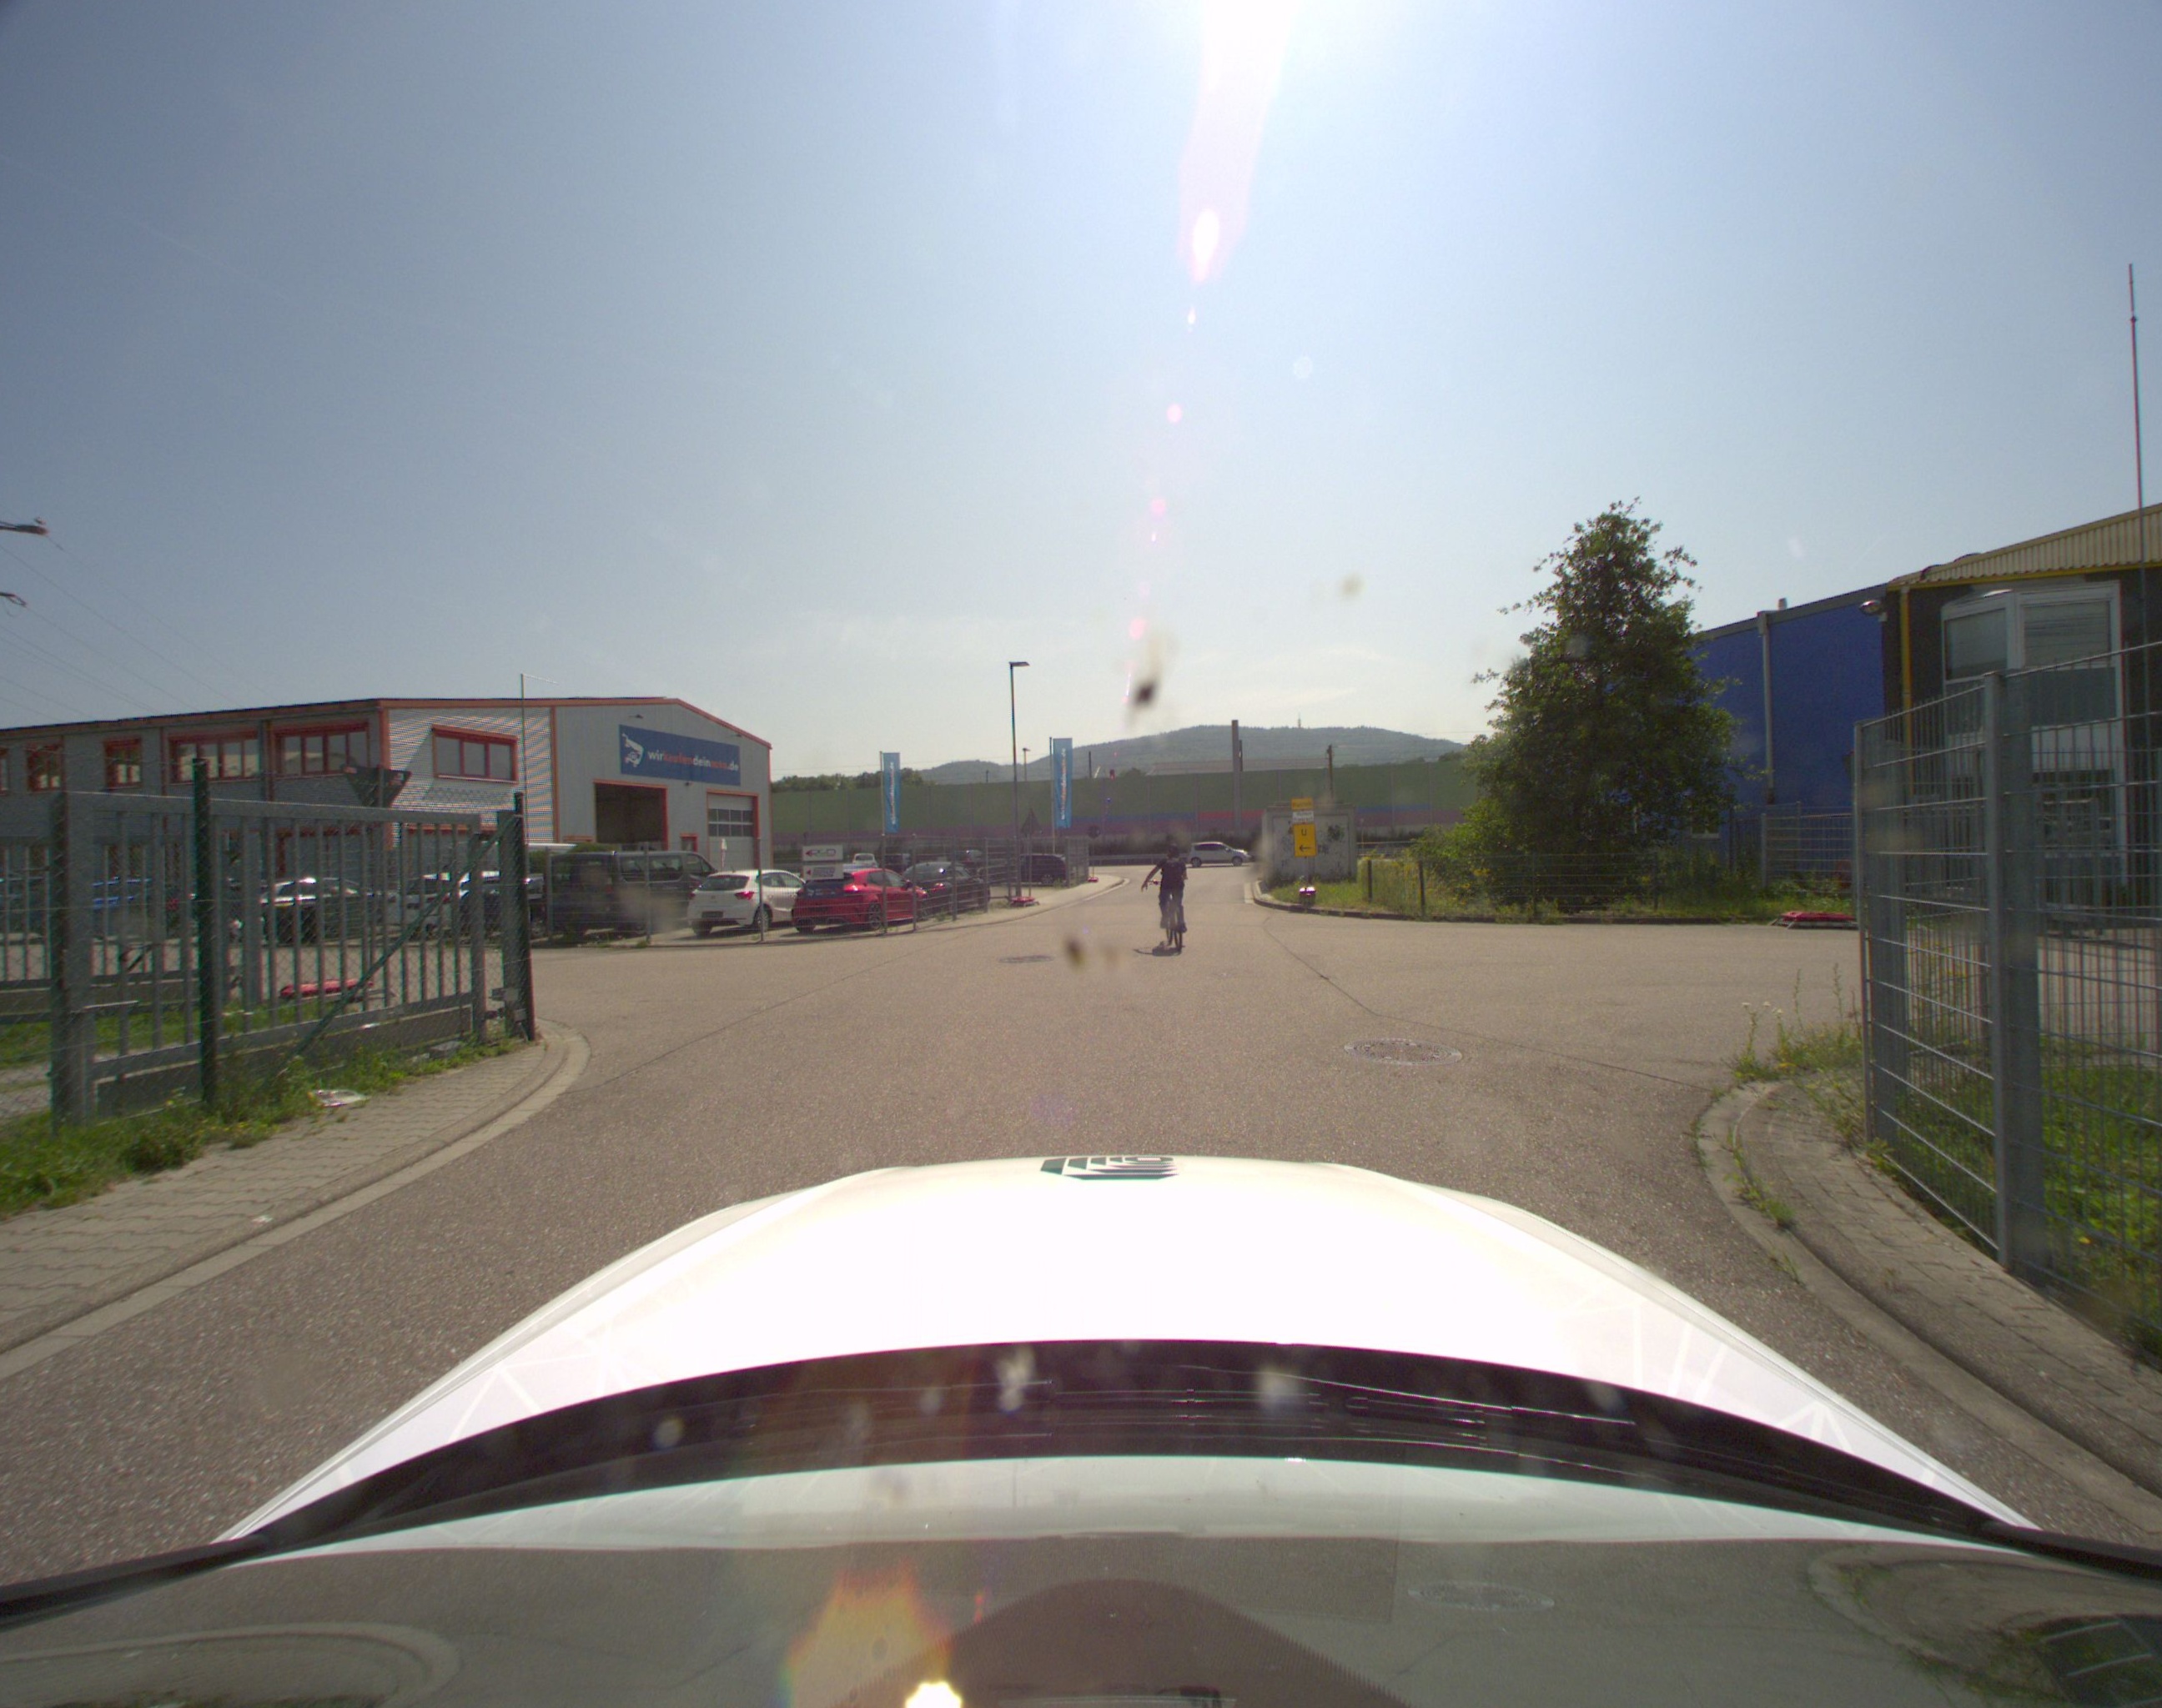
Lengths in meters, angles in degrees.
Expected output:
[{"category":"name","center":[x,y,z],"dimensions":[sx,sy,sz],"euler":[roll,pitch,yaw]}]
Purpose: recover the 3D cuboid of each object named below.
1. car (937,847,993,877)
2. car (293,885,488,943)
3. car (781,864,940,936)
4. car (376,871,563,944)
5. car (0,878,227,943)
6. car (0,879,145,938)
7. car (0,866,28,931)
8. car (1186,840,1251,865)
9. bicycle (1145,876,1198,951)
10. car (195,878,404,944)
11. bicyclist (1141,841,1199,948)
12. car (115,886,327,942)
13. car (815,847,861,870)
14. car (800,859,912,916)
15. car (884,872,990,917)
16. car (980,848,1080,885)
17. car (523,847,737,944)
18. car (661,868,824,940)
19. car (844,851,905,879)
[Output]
[{"category":"car","center":[-6.714,0.429,47.624],"dimensions":[1.981,1.581,4.013],"euler":[-2,1,11]},{"category":"car","center":[-17.572,1.483,20.953],"dimensions":[1.493,1.151,3.616],"euler":[-2,0,13]},{"category":"car","center":[-5.062,1.016,19.323],"dimensions":[1.857,1.386,4.128],"euler":[-2,0,13]},{"category":"car","center":[-15.289,1.276,20.608],"dimensions":[1.493,1.539,3.616],"euler":[-2,0,13]},{"category":"car","center":[-25.822,1.468,21.926],"dimensions":[1.493,1.416,3.616],"euler":[-2,0,13]},{"category":"car","center":[-31.199,1.620,24.528],"dimensions":[1.493,1.544,3.616],"euler":[-2,0,13]},{"category":"car","center":[-34.284,1.423,23.732],"dimensions":[1.805,1.978,3.921],"euler":[-2,0,13]},{"category":"car","center":[8.862,-0.098,52.341],"dimensions":[3.959,1.492,2.007],"euler":[-2,0,13]},{"category":"bicycle","center":[1.425,0.915,13.086],"dimensions":[0.682,1.051,1.902],"euler":[-2,0,2]},{"category":"car","center":[-19.925,1.399,20.977],"dimensions":[1.493,1.381,3.616],"euler":[-2,0,13]},{"category":"bicyclist","center":[1.405,0.627,13.033],"dimensions":[0.839,1.618,1.040],"euler":[-1,-1,3]},{"category":"car","center":[-22.930,1.559,21.914],"dimensions":[1.493,1.151,3.616],"euler":[-2,0,13]},{"category":"car","center":[-19.330,0.334,64.923],"dimensions":[1.686,1.657,4.016],"euler":[-2,1,14]},{"category":"car","center":[-6.535,0.926,24.071],"dimensions":[1.473,1.454,3.908],"euler":[-2,0,13]},{"category":"car","center":[-4.043,1.123,23.497],"dimensions":[1.473,1.007,4.128],"euler":[-2,0,13]},{"category":"car","center":[-2.255,0.547,36.599],"dimensions":[3.956,1.492,2.009],"euler":[-2,0,16]},{"category":"car","center":[-10.707,0.882,19.809],"dimensions":[1.937,2.030,4.534],"euler":[-2,0,13]},{"category":"car","center":[-7.858,1.111,19.298],"dimensions":[1.734,1.404,3.616],"euler":[-2,0,13]},{"category":"car","center":[-12.581,0.641,49.879],"dimensions":[1.981,1.581,4.013],"euler":[-2,1,11]}]
